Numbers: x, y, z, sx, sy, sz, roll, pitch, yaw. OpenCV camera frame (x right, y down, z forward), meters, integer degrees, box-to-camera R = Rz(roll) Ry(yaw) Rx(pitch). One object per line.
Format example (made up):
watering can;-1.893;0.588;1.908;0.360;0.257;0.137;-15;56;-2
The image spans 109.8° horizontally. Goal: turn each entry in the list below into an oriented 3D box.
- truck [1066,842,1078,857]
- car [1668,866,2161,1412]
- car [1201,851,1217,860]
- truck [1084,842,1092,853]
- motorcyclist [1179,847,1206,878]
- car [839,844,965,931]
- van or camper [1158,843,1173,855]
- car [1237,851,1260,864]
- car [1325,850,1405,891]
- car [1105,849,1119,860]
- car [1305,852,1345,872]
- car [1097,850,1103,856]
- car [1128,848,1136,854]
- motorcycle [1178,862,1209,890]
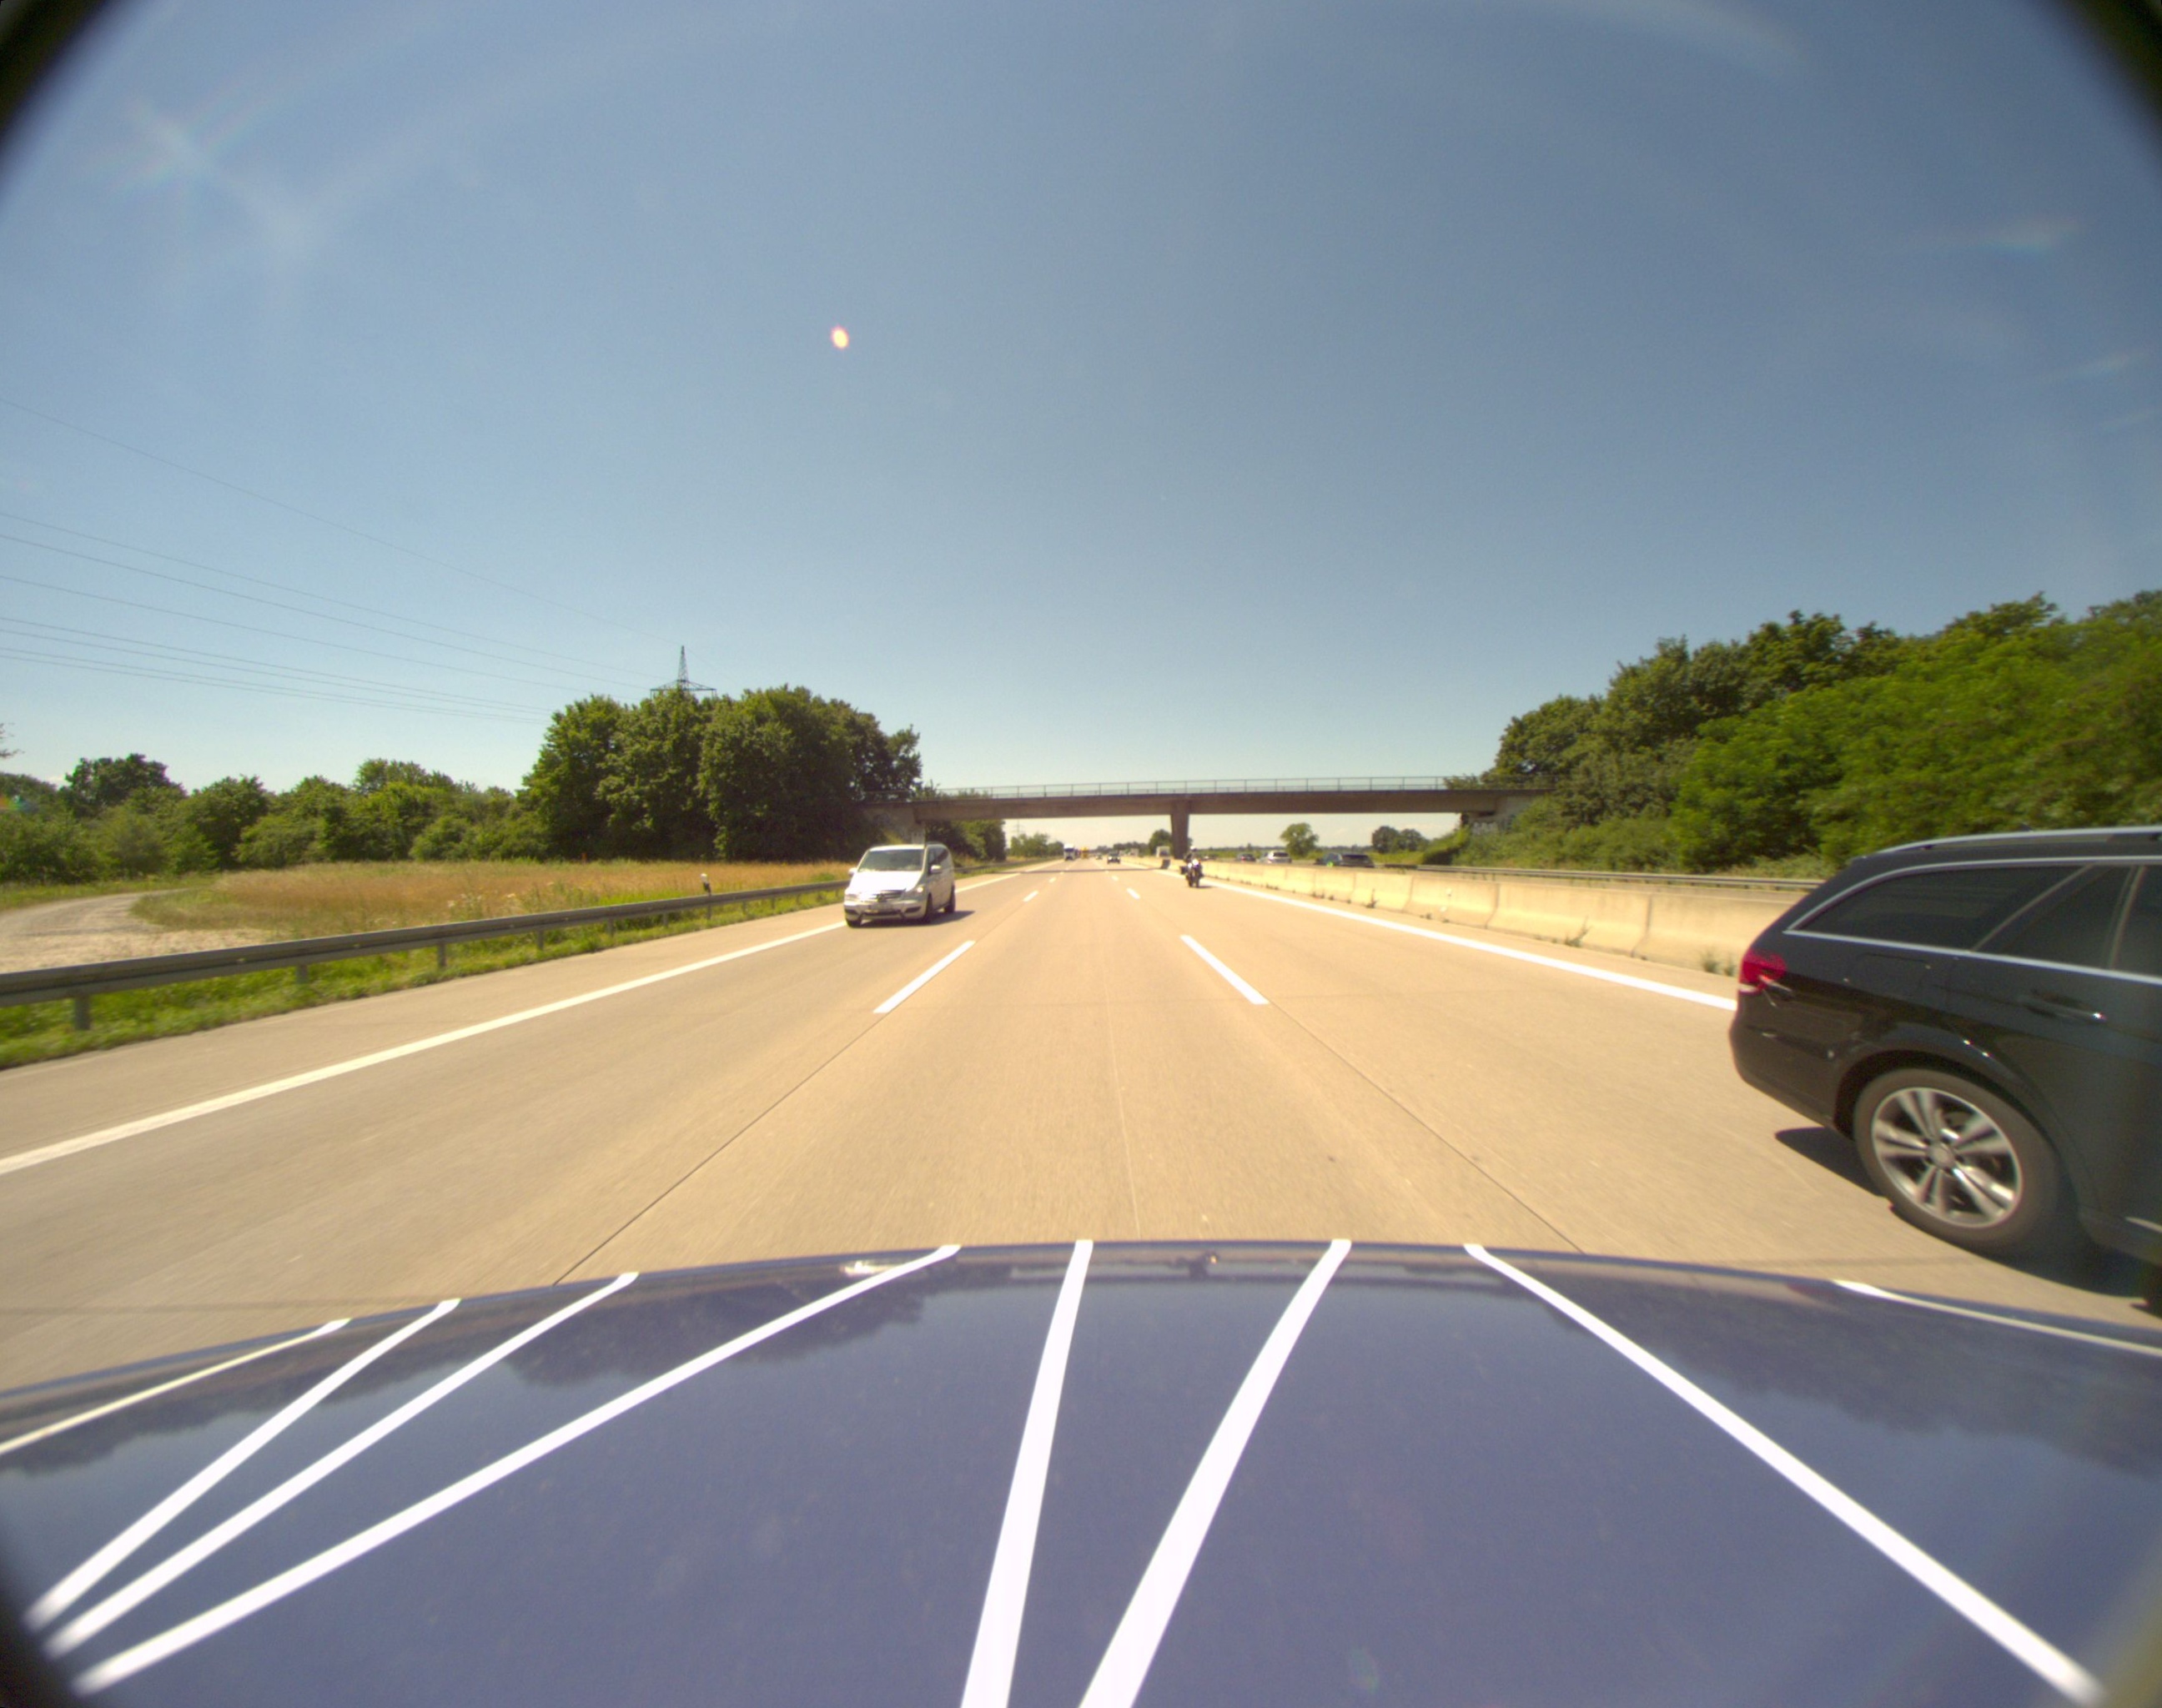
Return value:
truck;-2.252;-1.142;193.432;2.570;3.514;10.099;-1;0;1
car;3.947;0.813;1.105;1.895;1.465;5.603;-1;0;1
car;17.948;0.183;106.661;1.569;1.311;3.632;-1;0;0
truck;2.354;-2.185;262.610;2.570;3.710;10.099;-1;0;1
motorcyclist;4.547;0.340;31.025;1.027;1.202;0.911;-1;0;4
car;-4.372;0.742;19.505;1.884;1.878;5.279;-2;0;1
van or camper;18.363;-1.093;164.821;2.254;2.429;7.801;-2;0;0
car;18.106;0.340;82.376;1.569;1.311;4.372;-1;0;0
car;12.353;0.665;33.433;1.713;1.668;4.928;0;0;0
car;4.511;0.091;111.064;1.998;1.518;4.000;-1;1;1
car;17.038;0.554;53.222;1.569;1.311;3.632;-1;0;0
car;5.122;-0.346;202.588;1.586;1.527;3.611;-1;1;1
car;14.609;-0.832;217.755;1.831;1.708;5.792;-1;0;0
motorcycle;4.566;0.876;31.038;1.023;1.042;2.413;0;0;3
